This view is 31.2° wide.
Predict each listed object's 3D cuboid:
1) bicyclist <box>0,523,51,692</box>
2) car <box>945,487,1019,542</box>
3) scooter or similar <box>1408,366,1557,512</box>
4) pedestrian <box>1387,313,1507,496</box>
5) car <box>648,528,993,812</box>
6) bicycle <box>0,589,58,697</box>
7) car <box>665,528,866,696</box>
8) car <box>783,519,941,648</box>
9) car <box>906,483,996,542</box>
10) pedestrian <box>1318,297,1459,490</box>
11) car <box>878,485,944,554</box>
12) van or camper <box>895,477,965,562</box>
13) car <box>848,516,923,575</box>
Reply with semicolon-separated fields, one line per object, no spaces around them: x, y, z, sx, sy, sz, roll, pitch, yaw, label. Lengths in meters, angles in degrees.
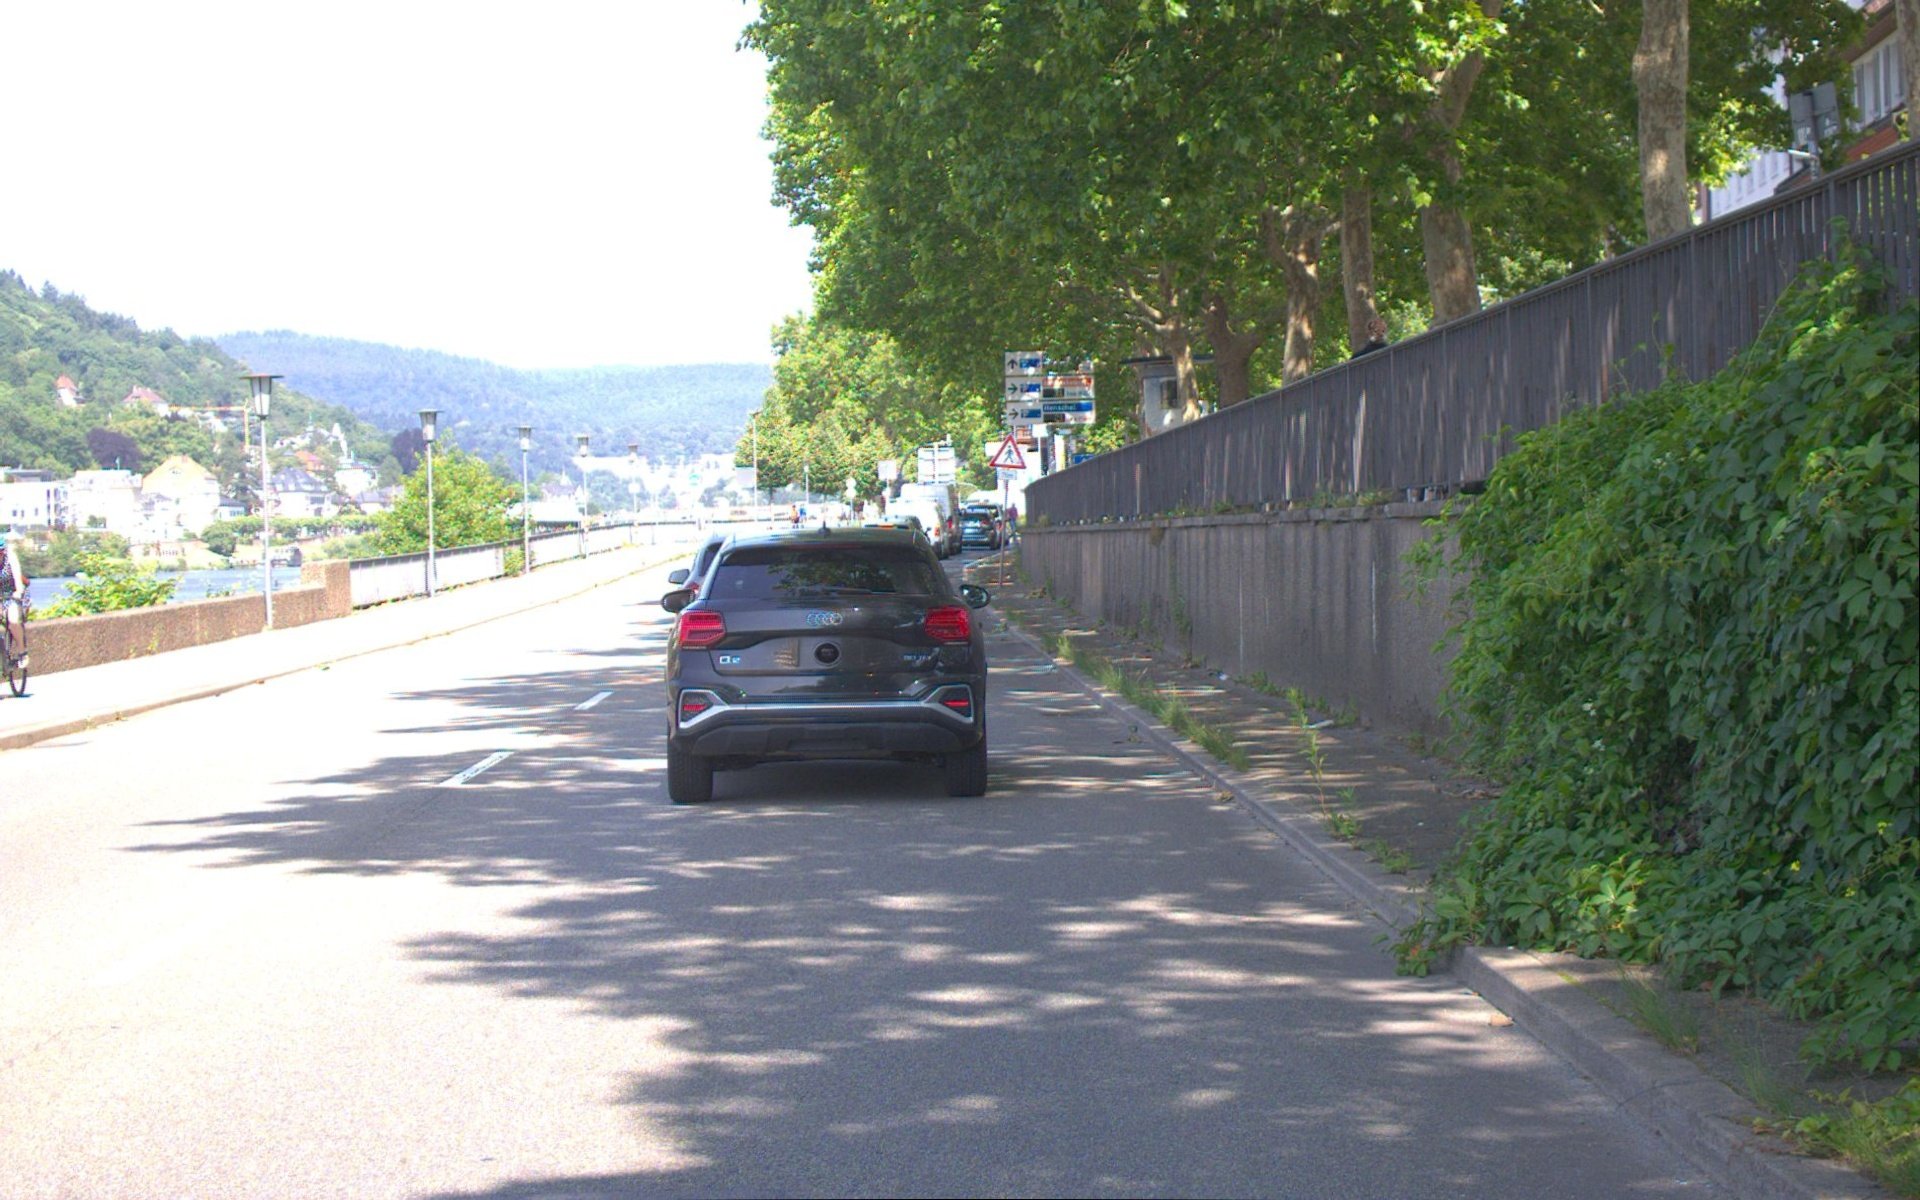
-9.578;0.075;34.485;0.637;1.668;0.871;-2;1;-2;bicyclist
0.888;-3.504;141.205;2.661;2.006;5.825;-4;2;-2;car
3.954;-1.208;26.080;0.855;1.023;1.107;-4;1;-2;scooter or similar
3.820;-1.526;27.026;0.680;1.361;0.990;-4;1;-2;pedestrian
-0.819;0.332;20.332;1.828;1.481;4.001;0;1;-2;car
-9.619;0.425;34.512;0.632;1.008;1.986;-2;1;-2;bicycle
-1.851;0.069;33.397;1.828;1.506;4.001;0;1;-2;car
-1.218;-0.243;41.991;1.828;1.481;4.001;0;1;-2;car
-0.368;-3.346;131.346;3.098;2.006;5.825;-4;2;-2;car
3.708;-1.774;29.793;0.936;1.574;1.028;-4;1;-3;pedestrian
-1.623;-2.605;111.466;1.993;2.162;4.001;-1;1;-2;car
-1.038;-2.806;120.525;2.310;2.837;4.246;-2;1;0;van or camper
-1.915;-1.408;87.639;1.828;1.439;4.001;0;1;-2;car
